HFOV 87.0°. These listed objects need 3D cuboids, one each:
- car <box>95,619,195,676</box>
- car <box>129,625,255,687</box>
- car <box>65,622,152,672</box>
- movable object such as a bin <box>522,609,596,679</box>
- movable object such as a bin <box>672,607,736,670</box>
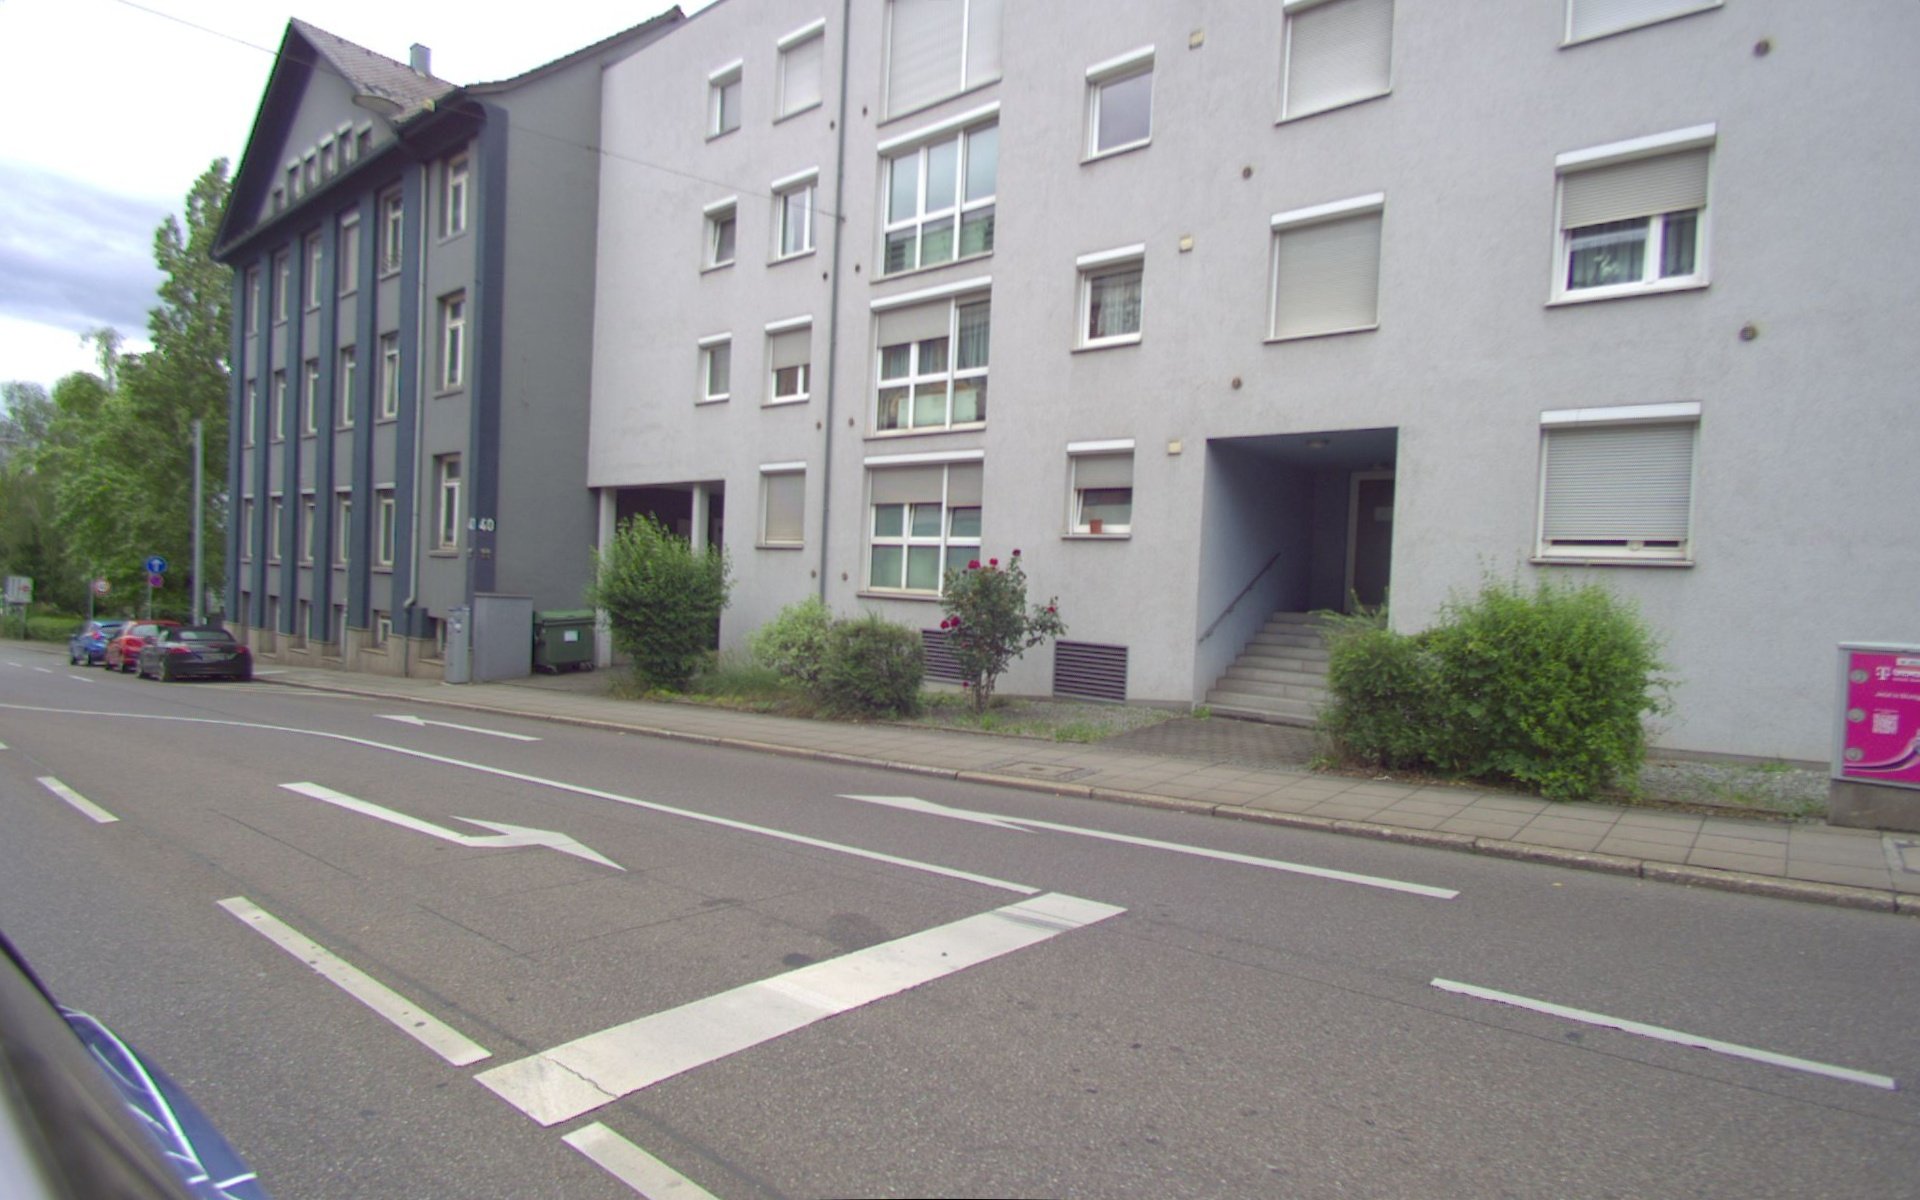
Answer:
[{"bbox_3d":[-23.602,1.324,29.277,3.727,1.460,1.623,-1,0,41],"label":"car"},{"bbox_3d":[-19.226,1.350,25.304,3.727,1.403,1.778,-1,-2,41],"label":"car"},{"bbox_3d":[-27.713,1.482,32.918,3.727,1.460,1.623,-1,0,41],"label":"car"},{"bbox_3d":[-9.121,0.972,23.011,1.039,1.518,1.213,-1,0,41],"label":"movable object such as a bin"},{"bbox_3d":[-5.996,0.882,23.704,1.078,1.427,1.026,-1,0,41],"label":"movable object such as a bin"}]
